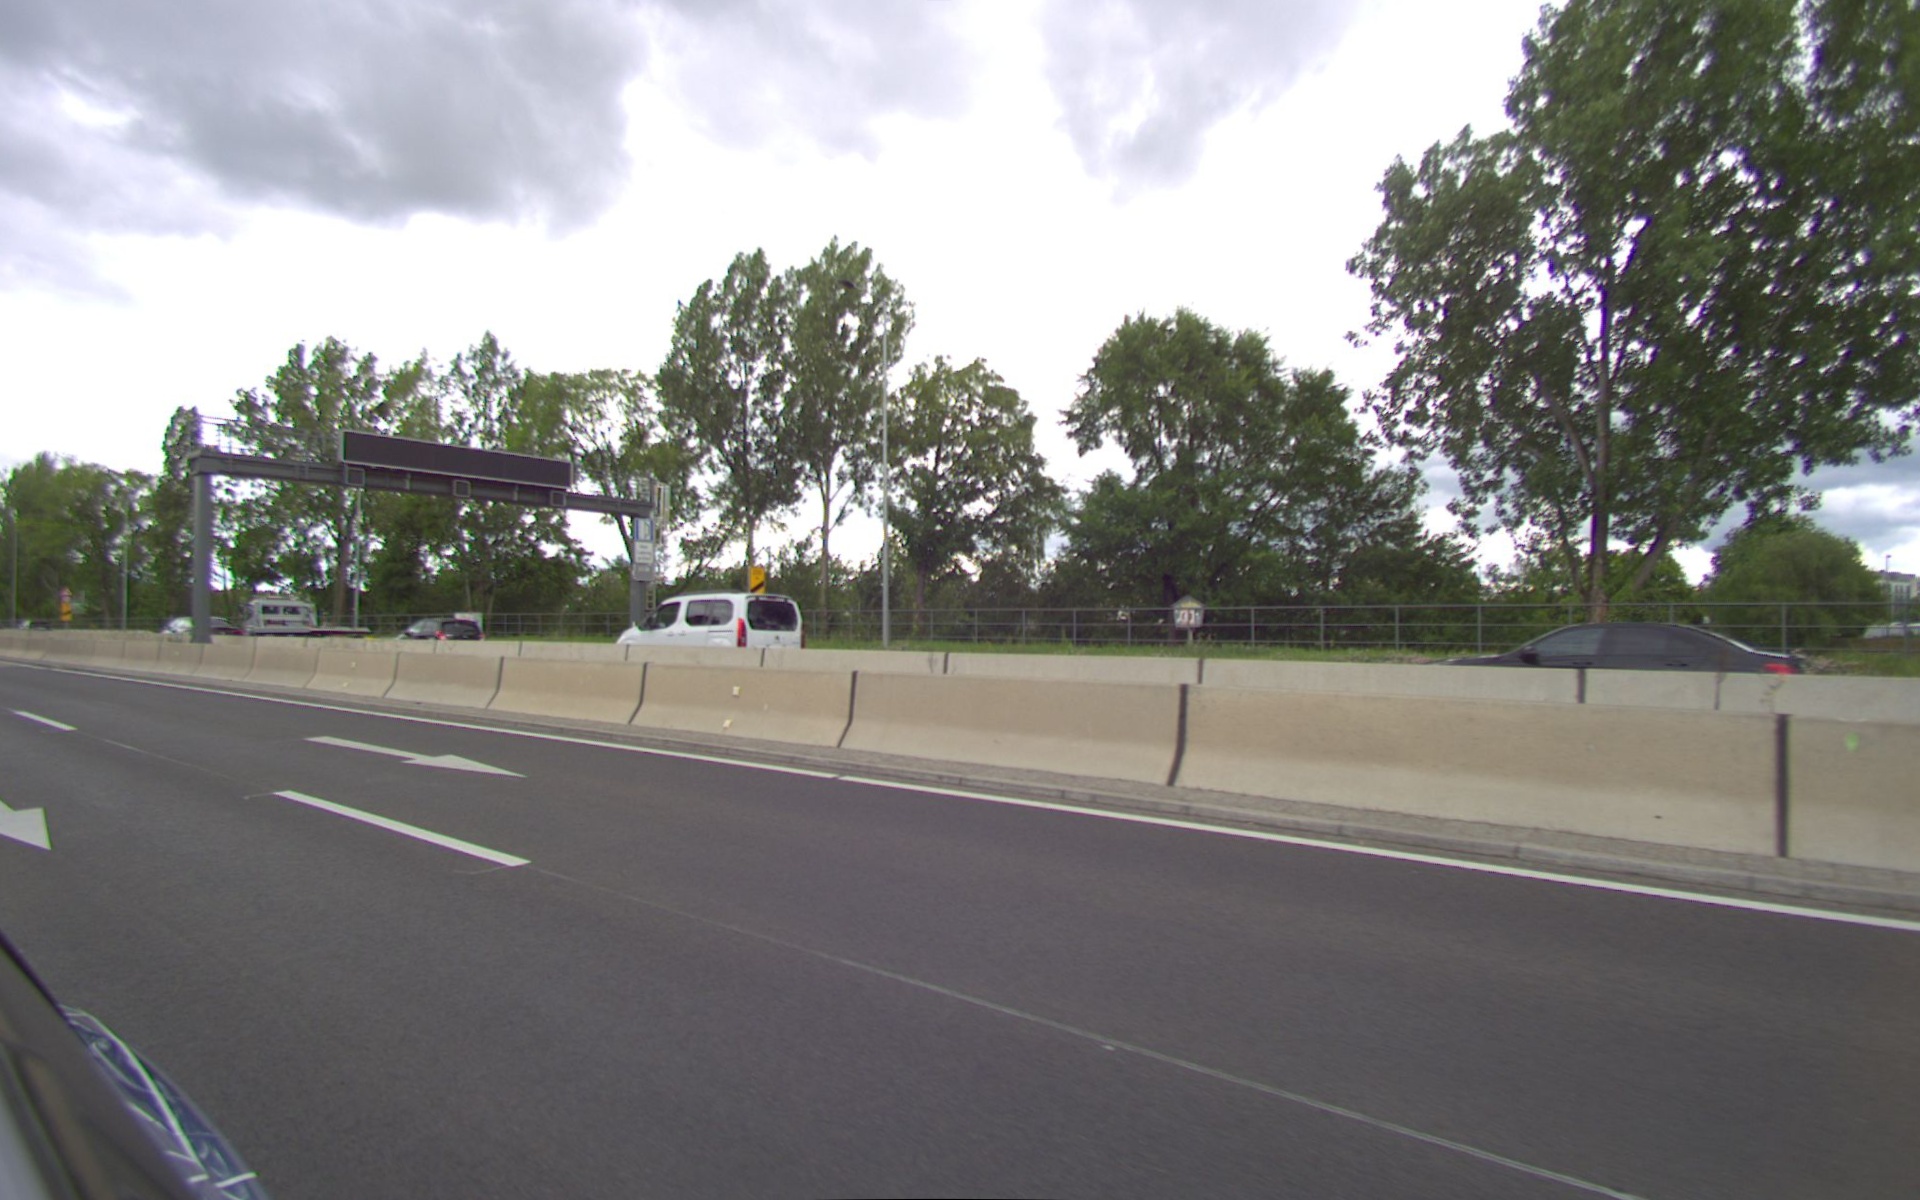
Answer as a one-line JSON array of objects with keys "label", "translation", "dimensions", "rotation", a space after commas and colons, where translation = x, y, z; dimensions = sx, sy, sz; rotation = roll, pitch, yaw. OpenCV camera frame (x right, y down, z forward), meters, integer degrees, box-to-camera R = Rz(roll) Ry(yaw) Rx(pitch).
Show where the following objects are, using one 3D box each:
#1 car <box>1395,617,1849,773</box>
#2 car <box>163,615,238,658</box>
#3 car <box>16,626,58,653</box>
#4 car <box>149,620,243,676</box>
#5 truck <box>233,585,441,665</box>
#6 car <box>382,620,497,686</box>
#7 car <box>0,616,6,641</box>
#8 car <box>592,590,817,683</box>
[{"label": "car", "translation": [8.457, 1.093, 13.267], "dimensions": [4.692, 1.630, 1.974], "rotation": [-2, 0, 40]}, {"label": "car", "translation": [-35.653, 1.688, 47.455], "dimensions": [4.095, 1.891, 1.799], "rotation": [-2, 0, 38]}, {"label": "car", "translation": [-74.712, 3.184, 81.890], "dimensions": [3.997, 2.029, 1.973], "rotation": [-2, 0, 40]}, {"label": "car", "translation": [-28.975, 1.786, 38.358], "dimensions": [3.993, 1.918, 1.800], "rotation": [-2, 0, 37]}, {"label": "truck", "translation": [-28.898, 1.147, 46.297], "dimensions": [15.865, 3.130, 2.827], "rotation": [-2, 0, 39]}, {"label": "car", "translation": [-17.449, 1.721, 33.874], "dimensions": [3.996, 2.029, 1.974], "rotation": [-2, 0, 39]}, {"label": "car", "translation": [-63.886, 1.895, 65.986], "dimensions": [4.451, 1.630, 1.907], "rotation": [-2, 0, 40]}, {"label": "car", "translation": [-5.193, 0.693, 20.250], "dimensions": [4.692, 1.630, 1.974], "rotation": [-2, 0, 40]}]
